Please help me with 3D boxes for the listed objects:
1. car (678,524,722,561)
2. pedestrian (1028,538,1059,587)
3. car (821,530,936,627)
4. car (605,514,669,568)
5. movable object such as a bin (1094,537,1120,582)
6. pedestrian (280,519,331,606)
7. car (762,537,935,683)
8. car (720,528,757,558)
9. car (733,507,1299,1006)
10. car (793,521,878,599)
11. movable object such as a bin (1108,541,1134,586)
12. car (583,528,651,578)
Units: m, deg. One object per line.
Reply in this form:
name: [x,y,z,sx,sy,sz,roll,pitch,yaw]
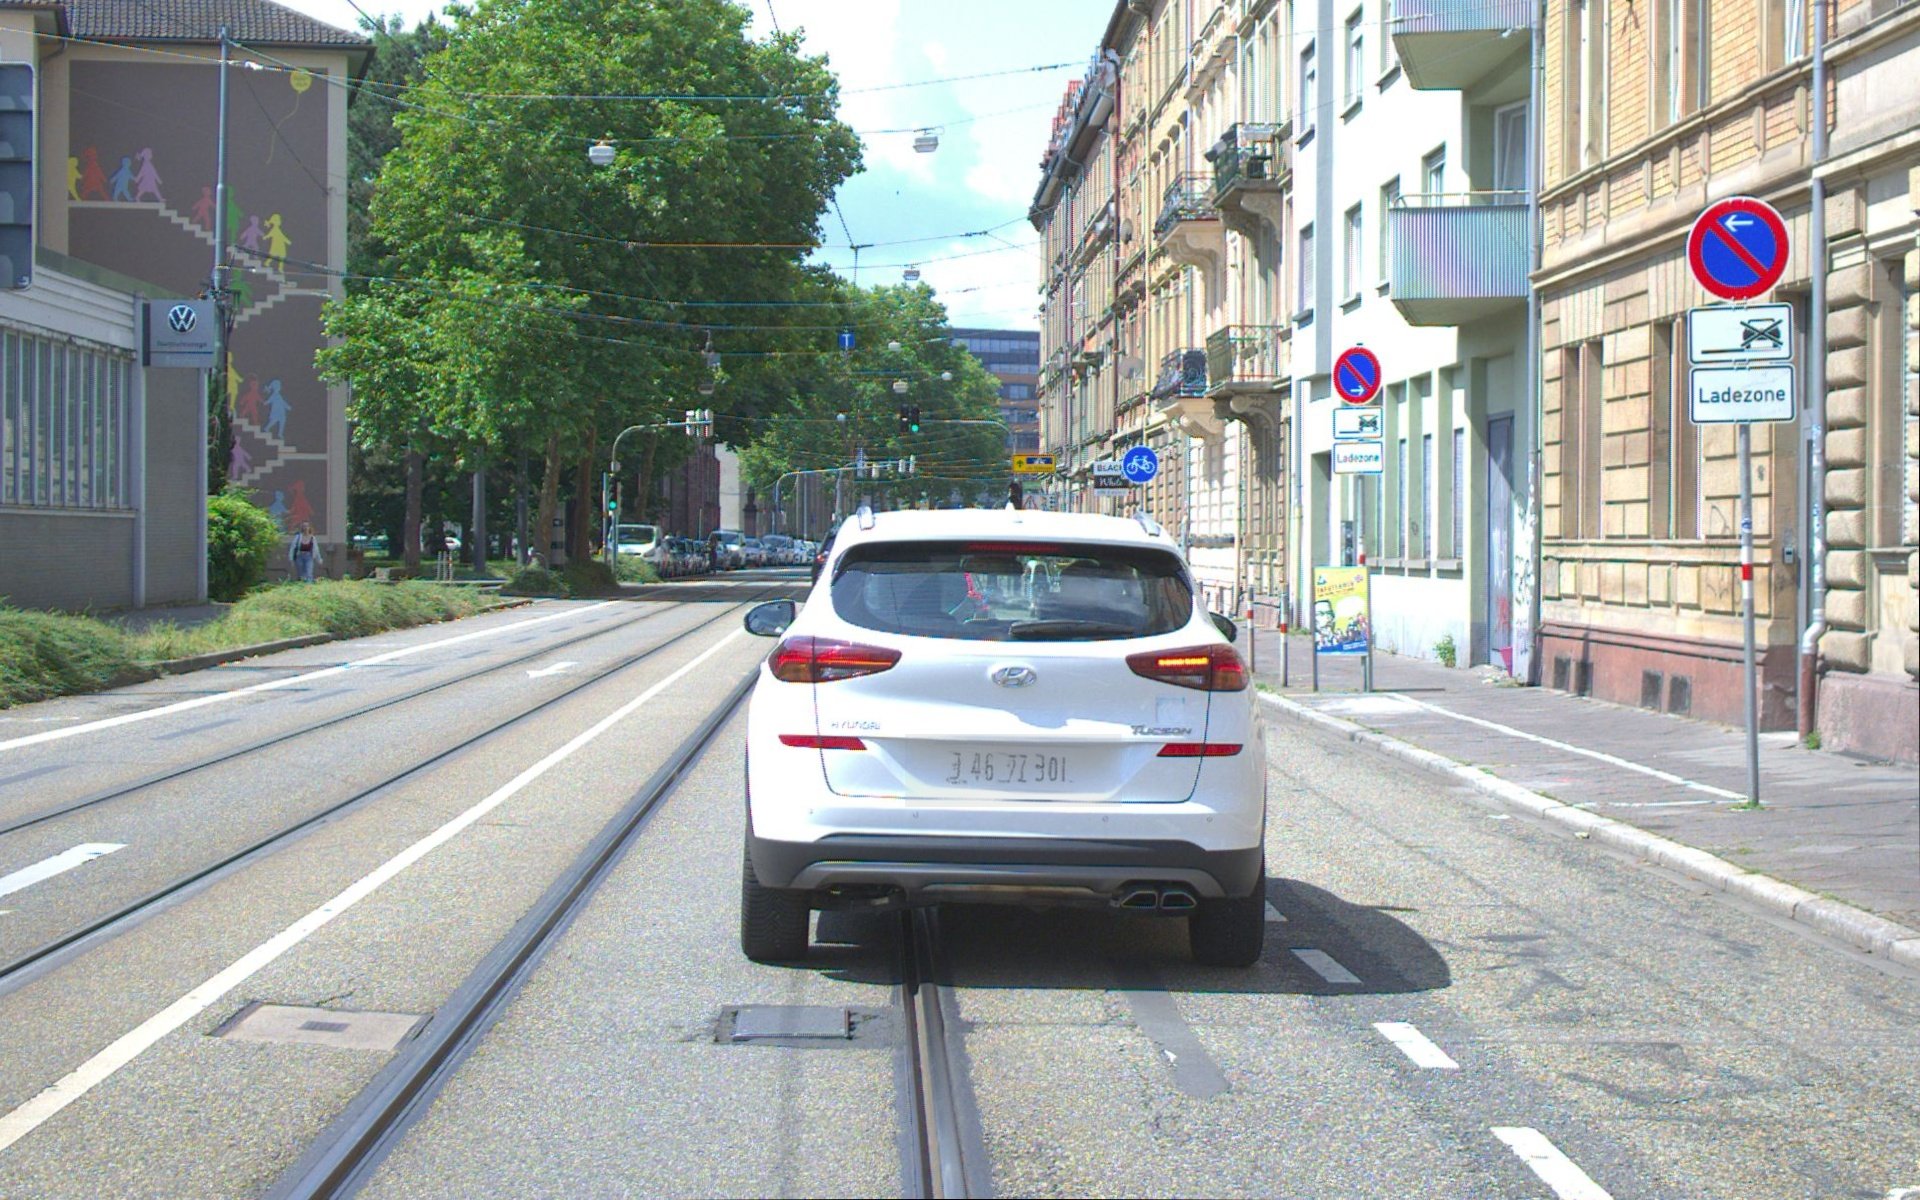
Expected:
car: [-11.781,-2.622,155.996,1.950,1.626,4.001,1,1,-4]
pedestrian: [2.730,-1.234,112.360,0.938,1.567,1.050,1,1,-1]
car: [-1.321,-0.378,56.044,1.814,1.519,3.956,0,1,-1]
car: [-11.549,-2.128,123.059,1.950,1.888,4.566,1,1,-2]
movable object such as a bin: [3.796,-1.053,88.857,0.612,1.139,0.638,1,1,-1]
pedestrian: [-14.137,-0.816,74.245,0.880,1.859,1.081,-1,1,-1]
car: [-1.185,0.067,38.165,1.814,1.519,4.085,0,1,0]
car: [-12.055,-3.116,187.248,1.950,1.626,4.001,1,1,-4]
car: [0.053,0.484,13.534,1.852,1.628,4.181,1,1,-4]
car: [-2.716,-0.900,75.624,1.814,1.656,4.085,0,1,-1]
movable object such as a bin: [4.093,-0.933,87.433,0.612,1.139,0.638,1,1,-1]
car: [-11.635,-1.622,116.786,1.950,1.626,4.576,1,1,-2]
